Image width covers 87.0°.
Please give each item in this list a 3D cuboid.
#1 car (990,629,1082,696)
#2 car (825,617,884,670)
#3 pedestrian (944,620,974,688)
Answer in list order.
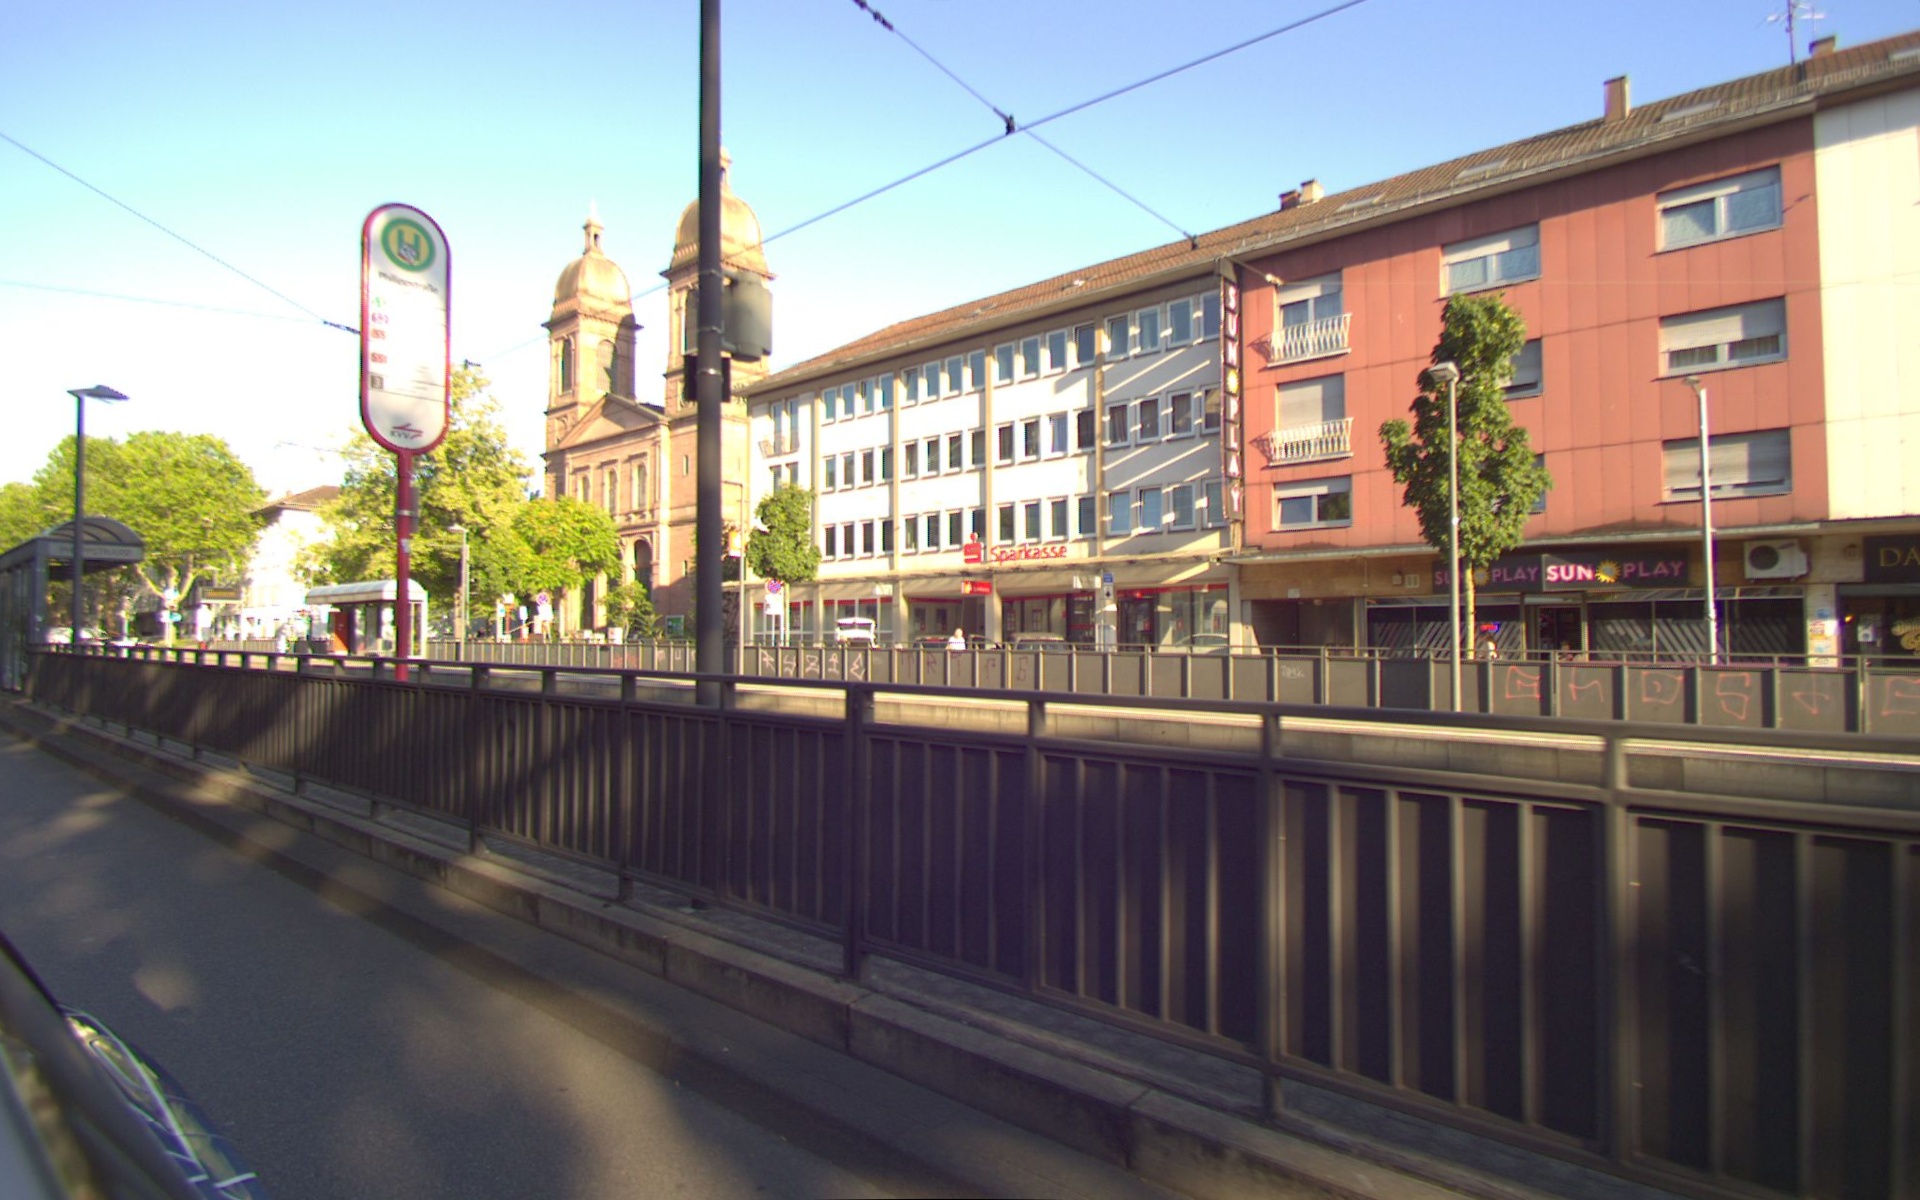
[{"bbox_3d":[1.962,1.621,27.253,1.842,1.541,4.004,-1,0,-5],"label":"car"},{"bbox_3d":[-3.394,1.331,32.245,1.716,1.497,4.006,-1,0,-7],"label":"car"},{"bbox_3d":[-0.032,1.454,27.401,0.757,1.801,0.725,-1,0,-2],"label":"pedestrian"}]
